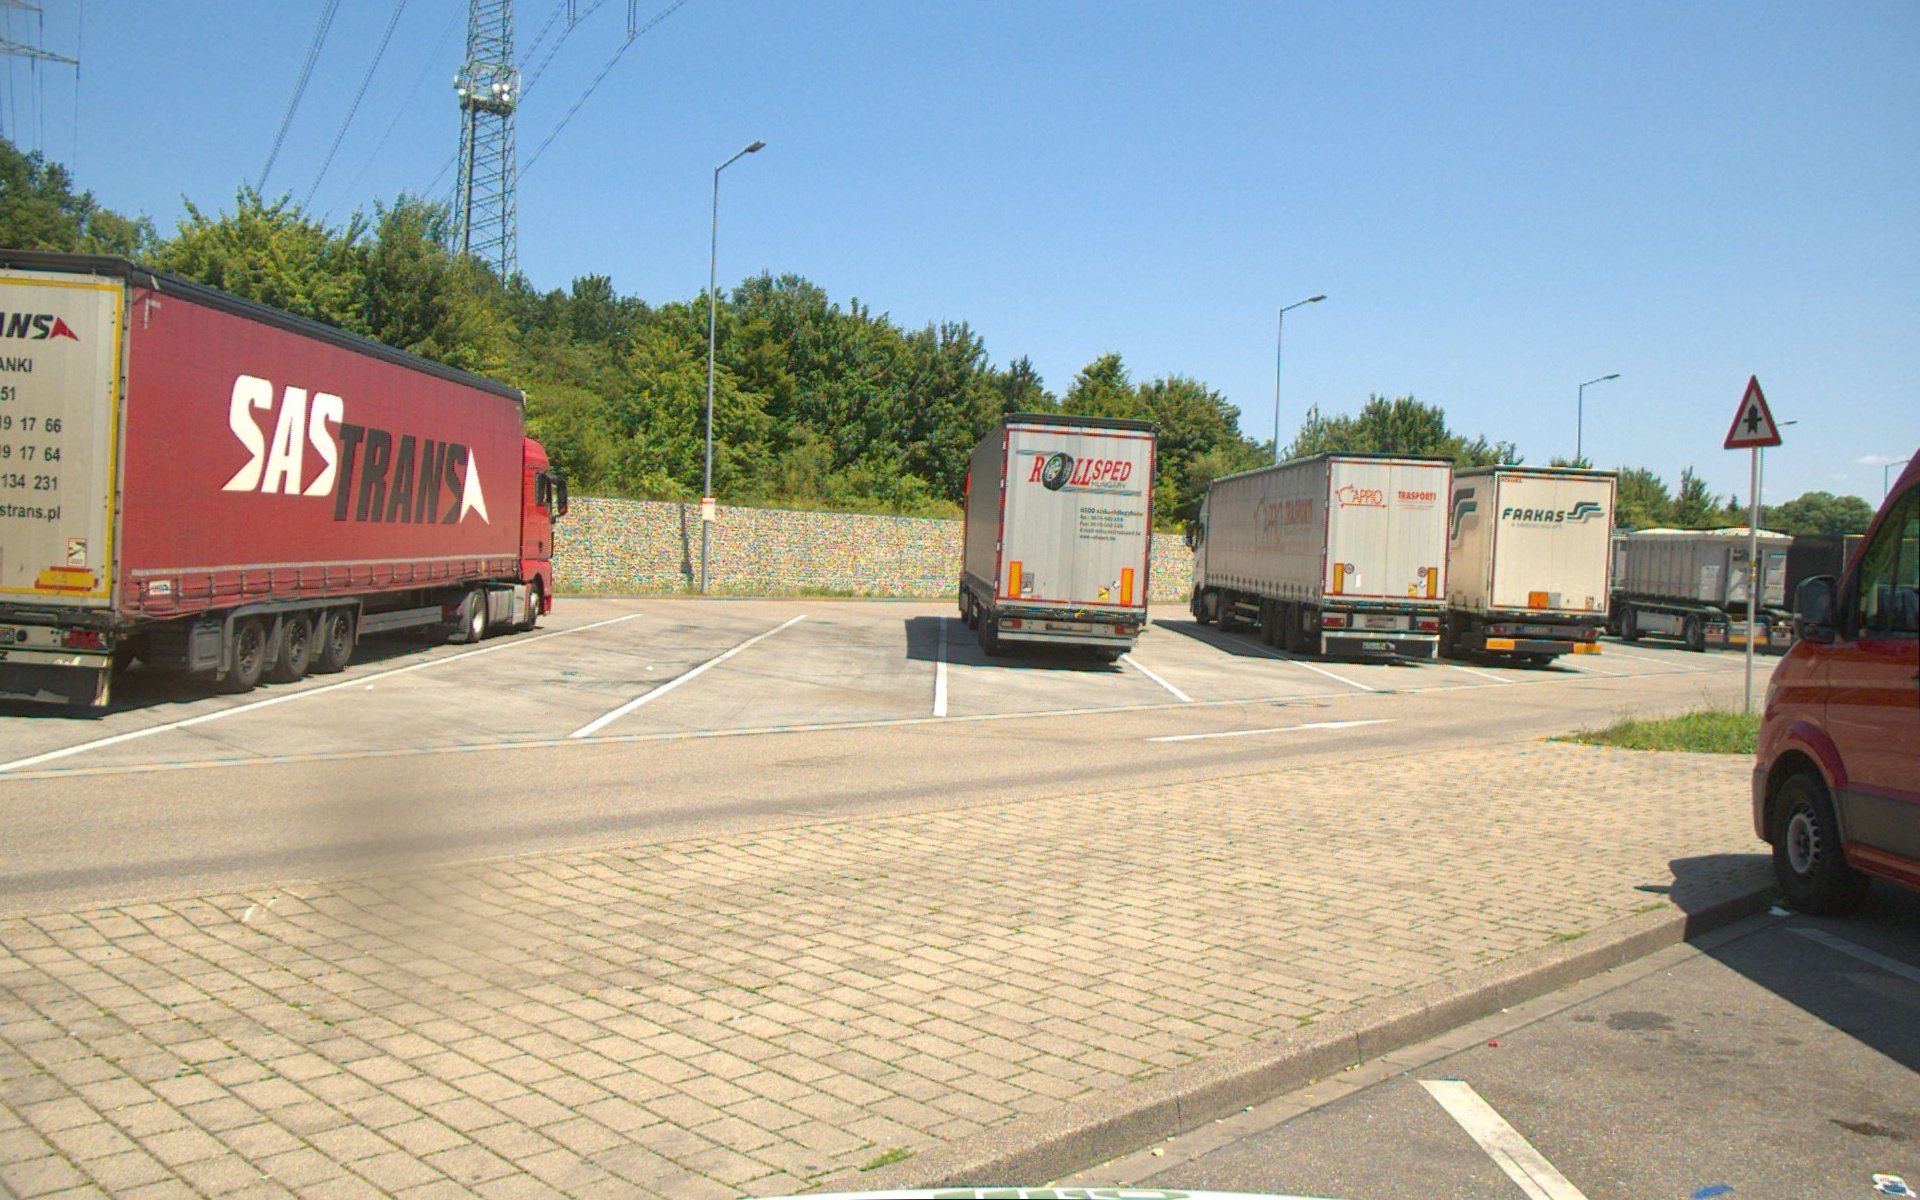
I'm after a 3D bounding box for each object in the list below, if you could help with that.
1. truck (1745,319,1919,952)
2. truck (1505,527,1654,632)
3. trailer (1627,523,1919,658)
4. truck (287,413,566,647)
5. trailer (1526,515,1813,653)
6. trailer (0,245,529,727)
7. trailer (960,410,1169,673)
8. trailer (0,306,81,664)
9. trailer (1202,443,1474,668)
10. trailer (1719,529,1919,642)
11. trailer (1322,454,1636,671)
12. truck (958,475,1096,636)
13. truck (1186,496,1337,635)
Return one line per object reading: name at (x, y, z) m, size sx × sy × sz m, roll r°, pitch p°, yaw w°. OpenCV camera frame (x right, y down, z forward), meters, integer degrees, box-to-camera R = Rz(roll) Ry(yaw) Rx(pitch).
truck at (4.984, 0.162, 5.527) m, size 1.969 × 2.697 × 6.457 m, roll 1°, pitch 0°, yaw 3°
truck at (21.728, -0.790, 58.350) m, size 2.808 × 3.421 × 5.974 m, roll 2°, pitch 2°, yaw -1°
trailer at (25.708, -0.510, 52.921) m, size 2.800 × 3.662 × 13.762 m, roll 2°, pitch 2°, yaw -1°
truck at (-8.809, -1.162, 28.077) m, size 2.755 × 3.421 × 5.974 m, roll 2°, pitch 2°, yaw -1°
trailer at (21.826, -0.676, 52.255) m, size 2.800 × 3.662 × 13.762 m, roll 2°, pitch 2°, yaw -1°
trailer at (-8.700, -1.269, 21.261) m, size 2.764 × 4.141 × 13.763 m, roll 2°, pitch 2°, yaw -1°
trailer at (1.666, -1.173, 33.158) m, size 2.800 × 4.040 × 13.761 m, roll 2°, pitch 2°, yaw -2°
trailer at (-12.497, -1.258, 15.804) m, size 2.651 × 4.173 × 10.389 m, roll 2°, pitch 2°, yaw -1°
trailer at (8.240, -1.098, 38.512) m, size 2.800 × 4.180 × 13.762 m, roll 2°, pitch 2°, yaw -1°
trailer at (34.779, -0.703, 65.454) m, size 2.800 × 3.972 × 13.762 m, roll 2°, pitch 2°, yaw -1°
trailer at (11.760, -0.987, 39.576) m, size 2.800 × 4.180 × 13.762 m, roll 2°, pitch 2°, yaw -1°
truck at (1.465, -1.090, 39.355) m, size 2.808 × 3.421 × 5.974 m, roll 2°, pitch 2°, yaw -1°
truck at (8.117, -0.982, 45.274) m, size 2.808 × 3.421 × 5.974 m, roll 2°, pitch 2°, yaw -1°
